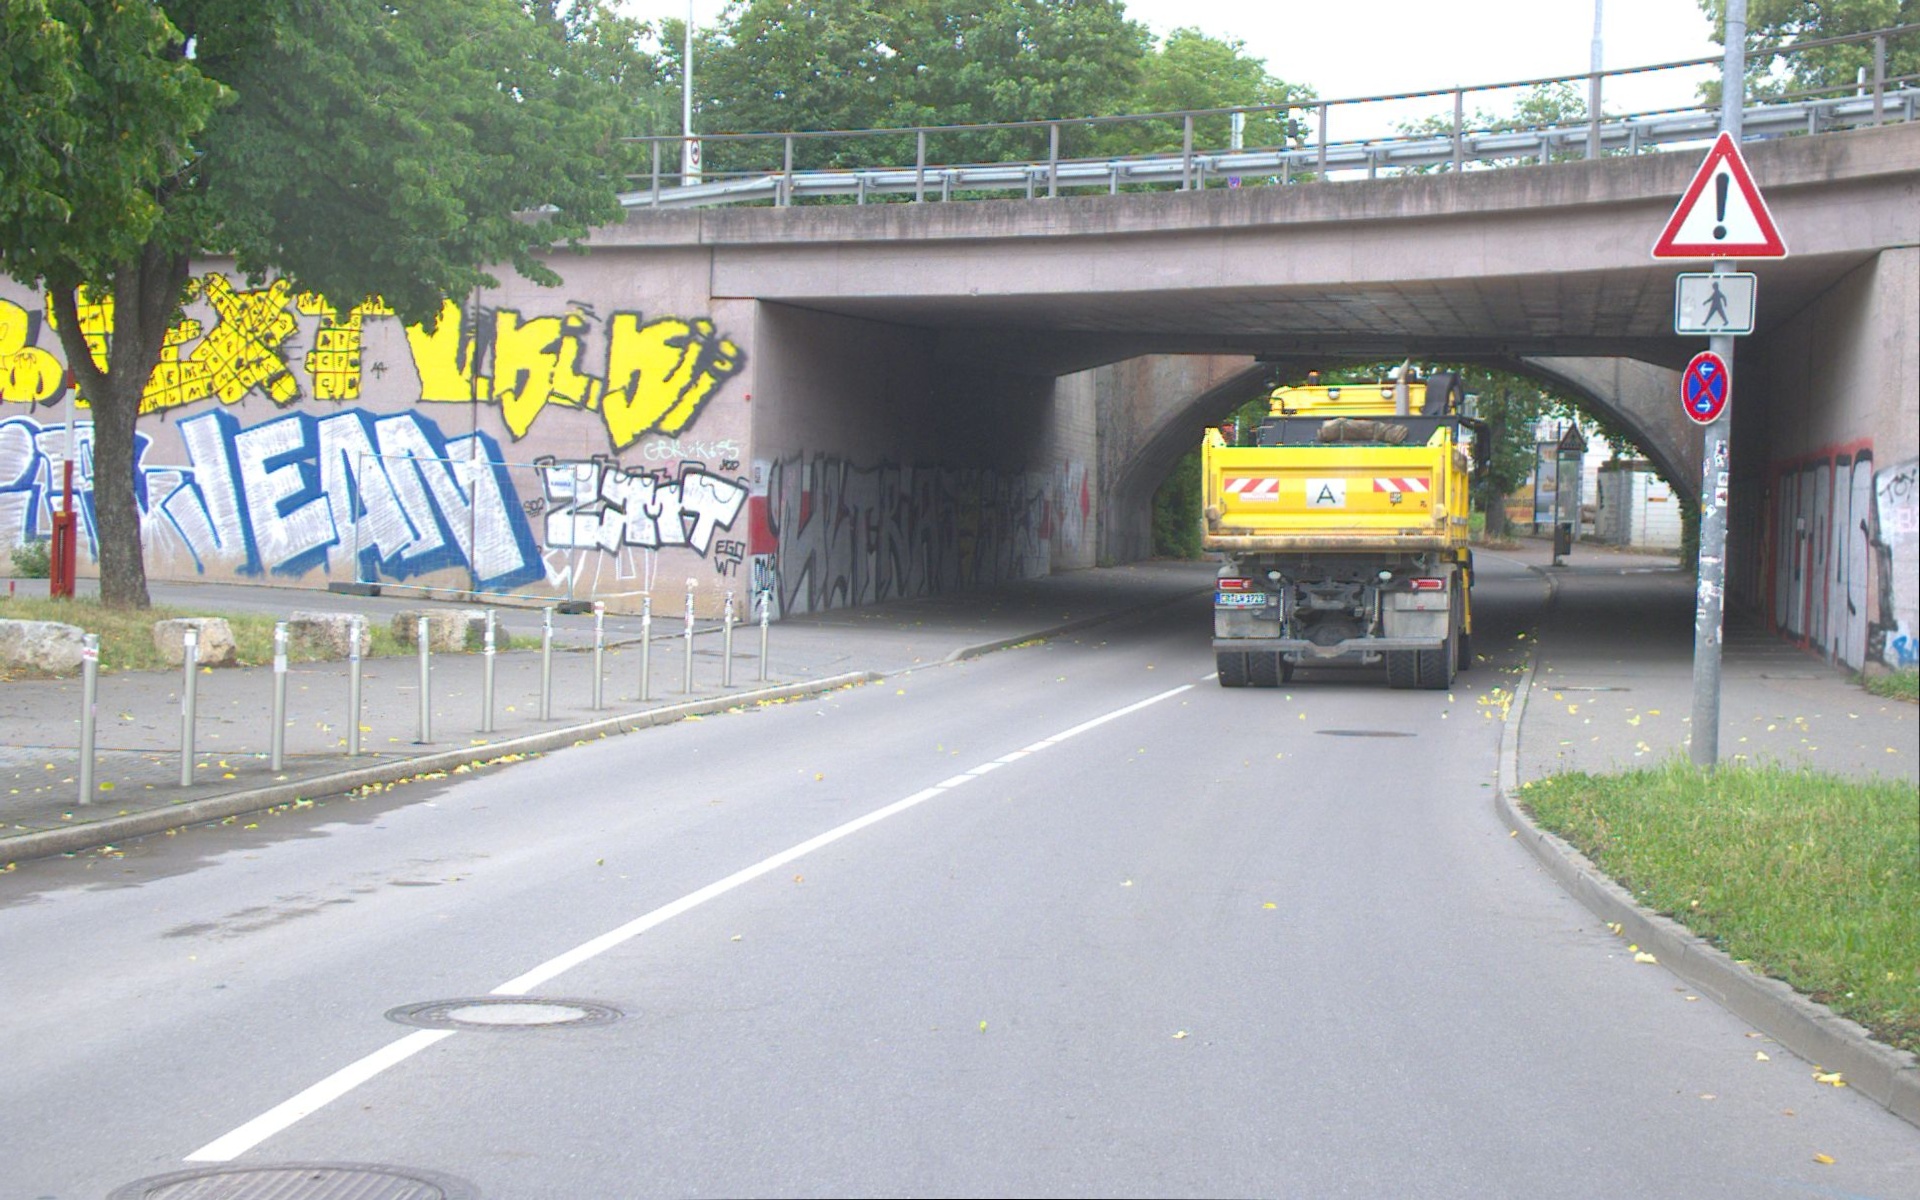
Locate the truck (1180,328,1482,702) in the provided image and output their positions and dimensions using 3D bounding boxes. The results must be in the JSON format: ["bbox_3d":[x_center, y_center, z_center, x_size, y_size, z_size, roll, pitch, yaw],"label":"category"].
[{"bbox_3d":[4.356,-0.881,38.855,2.759,3.686,7.877,3,1,10],"label":"truck"}]
